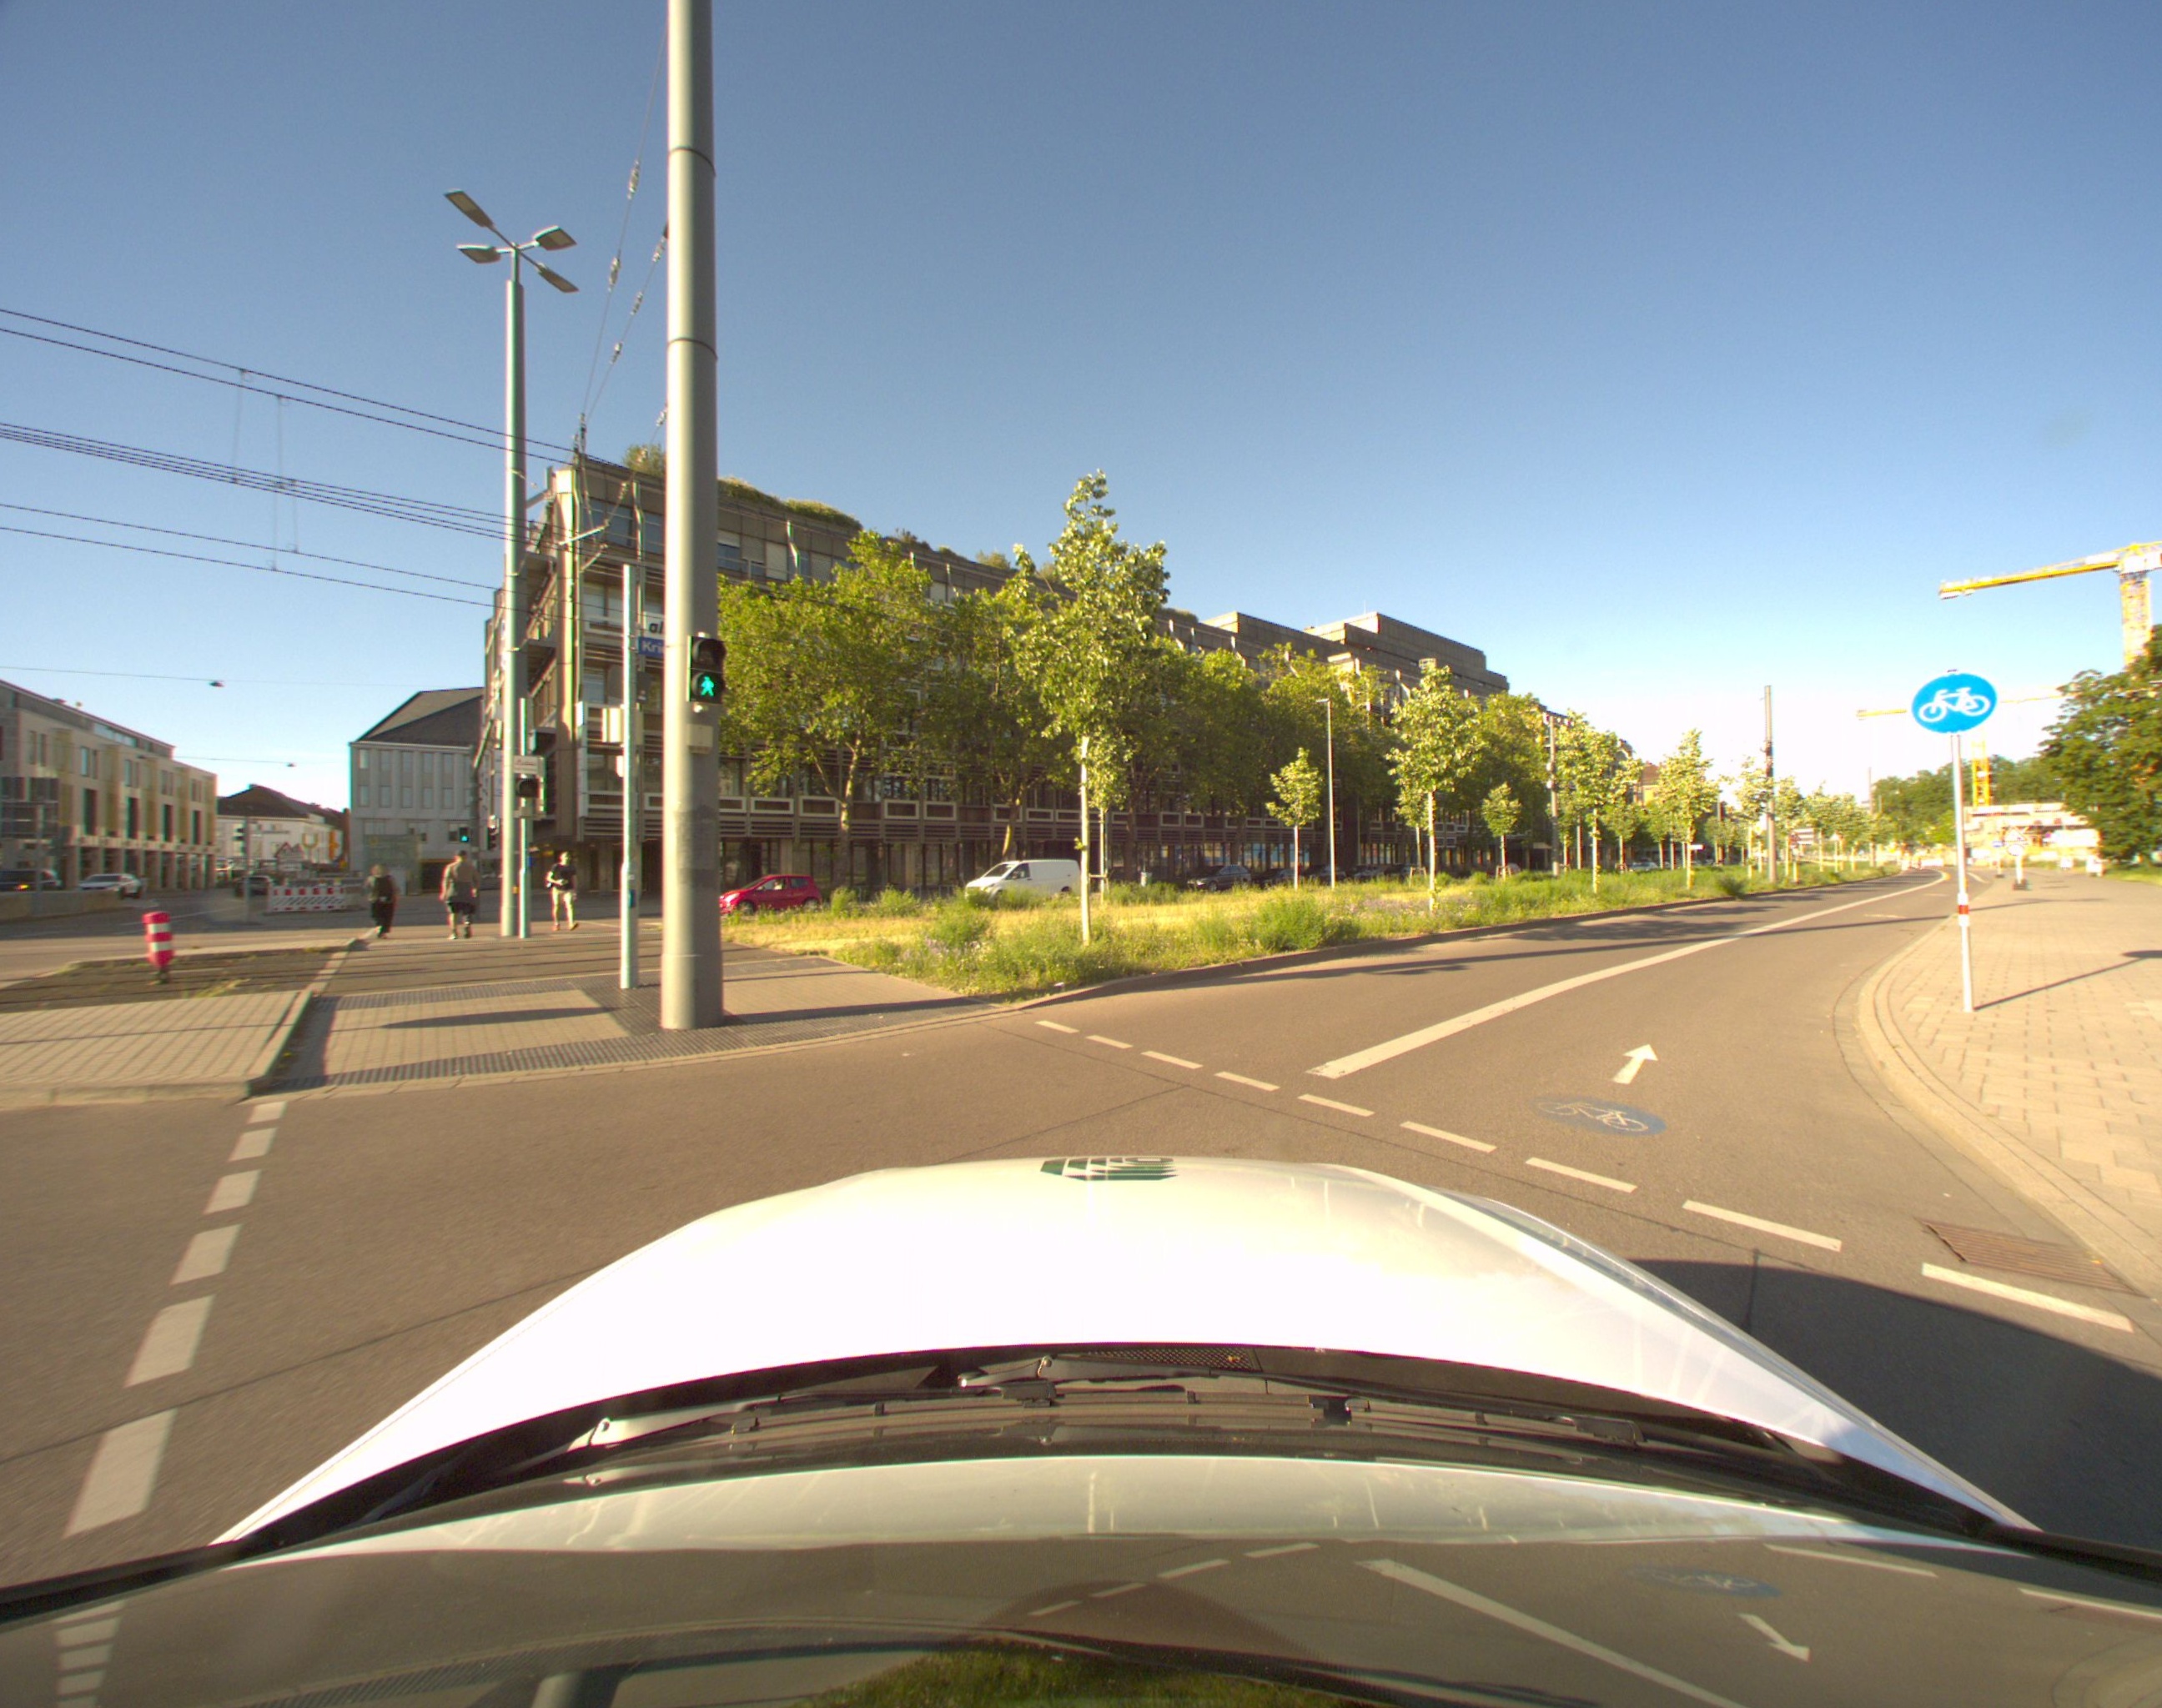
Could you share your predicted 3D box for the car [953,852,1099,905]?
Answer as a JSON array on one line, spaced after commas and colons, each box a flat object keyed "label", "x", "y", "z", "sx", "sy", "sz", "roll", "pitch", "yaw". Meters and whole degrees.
[{"label": "car", "x": -2.226, "y": 0.991, "z": 34.010, "sx": 5.736, "sy": 2.014, "sz": 2.240, "roll": -1, "pitch": -3, "yaw": -38}]

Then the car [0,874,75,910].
[{"label": "car", "x": -53.774, "y": 1.898, "z": 41.141, "sx": 2.190, "sy": 1.692, "sz": 5.428, "roll": 0, "pitch": -1, "yaw": -34}]

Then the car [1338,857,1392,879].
[{"label": "car", "x": 22.711, "y": 1.091, "z": 65.089, "sx": 4.383, "sy": 1.633, "sz": 1.895, "roll": -1, "pitch": -3, "yaw": -38}]

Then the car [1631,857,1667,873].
[{"label": "car", "x": 60.964, "y": 1.135, "z": 87.334, "sx": 4.716, "sy": 1.594, "sz": 1.825, "roll": -1, "pitch": -1, "yaw": -39}]

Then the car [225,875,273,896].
[{"label": "car", "x": -62.412, "y": 2.352, "z": 61.142, "sx": 1.952, "sy": 1.450, "sz": 4.214, "roll": 0, "pitch": -1, "yaw": -37}]

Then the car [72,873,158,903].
[{"label": "car", "x": -60.303, "y": 2.094, "z": 50.970, "sx": 2.191, "sy": 1.692, "sz": 5.553, "roll": 0, "pitch": -1, "yaw": -36}]

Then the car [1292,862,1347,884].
[{"label": "car", "x": 17.793, "y": 1.388, "z": 60.597, "sx": 4.648, "sy": 1.557, "sz": 1.729, "roll": 0, "pitch": 0, "yaw": -41}]

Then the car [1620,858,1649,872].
[{"label": "car", "x": 66.638, "y": 1.332, "z": 97.964, "sx": 4.324, "sy": 1.575, "sz": 1.887, "roll": 0, "pitch": -1, "yaw": -42}]

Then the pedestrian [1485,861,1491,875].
[{"label": "pedestrian", "x": 44.628, "y": 1.543, "z": 89.228, "sx": 0.449, "sy": 1.562, "sz": 0.405, "roll": 0, "pitch": -1, "yaw": -39}]

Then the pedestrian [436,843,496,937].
[{"label": "pedestrian", "x": -11.812, "y": 0.668, "z": 15.643, "sx": 0.863, "sy": 1.744, "sz": 0.730, "roll": 0, "pitch": 0, "yaw": -42}]

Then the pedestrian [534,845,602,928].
[{"label": "pedestrian", "x": -12.291, "y": 0.763, "z": 19.543, "sx": 1.011, "sy": 1.911, "sz": 1.048, "roll": -1, "pitch": -1, "yaw": -7}]

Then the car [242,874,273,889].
[{"label": "car", "x": -108.122, "y": 3.607, "z": 106.964, "sx": 2.191, "sy": 1.873, "sz": 5.551, "roll": 0, "pitch": -1, "yaw": -38}]

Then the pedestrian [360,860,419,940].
[{"label": "pedestrian", "x": -14.221, "y": 0.916, "z": 16.760, "sx": 0.903, "sy": 1.549, "sz": 0.913, "roll": 0, "pitch": 1, "yaw": -40}]

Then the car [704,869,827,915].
[{"label": "car", "x": -11.762, "y": 1.399, "z": 30.481, "sx": 3.899, "sy": 1.486, "sz": 1.824, "roll": -1, "pitch": -3, "yaw": -40}]

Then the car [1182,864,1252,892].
[{"label": "car", "x": 8.950, "y": 1.517, "z": 53.415, "sx": 4.895, "sy": 1.680, "sz": 1.976, "roll": 0, "pitch": 0, "yaw": -43}]

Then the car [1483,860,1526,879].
[{"label": "car", "x": 35.652, "y": 1.302, "z": 68.586, "sx": 3.590, "sy": 1.453, "sz": 1.697, "roll": -1, "pitch": -3, "yaw": -35}]

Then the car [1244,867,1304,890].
[{"label": "car", "x": 13.508, "y": 1.680, "z": 56.934, "sx": 4.018, "sy": 1.521, "sz": 1.978, "roll": 0, "pitch": 0, "yaw": -37}]

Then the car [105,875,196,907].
[{"label": "car", "x": -54.122, "y": 2.104, "z": 47.515, "sx": 2.190, "sy": 1.692, "sz": 5.428, "roll": 0, "pitch": -1, "yaw": -34}]

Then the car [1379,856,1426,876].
[{"label": "car", "x": 27.018, "y": 0.974, "z": 68.419, "sx": 4.298, "sy": 1.596, "sz": 1.845, "roll": 0, "pitch": -2, "yaw": -40}]
